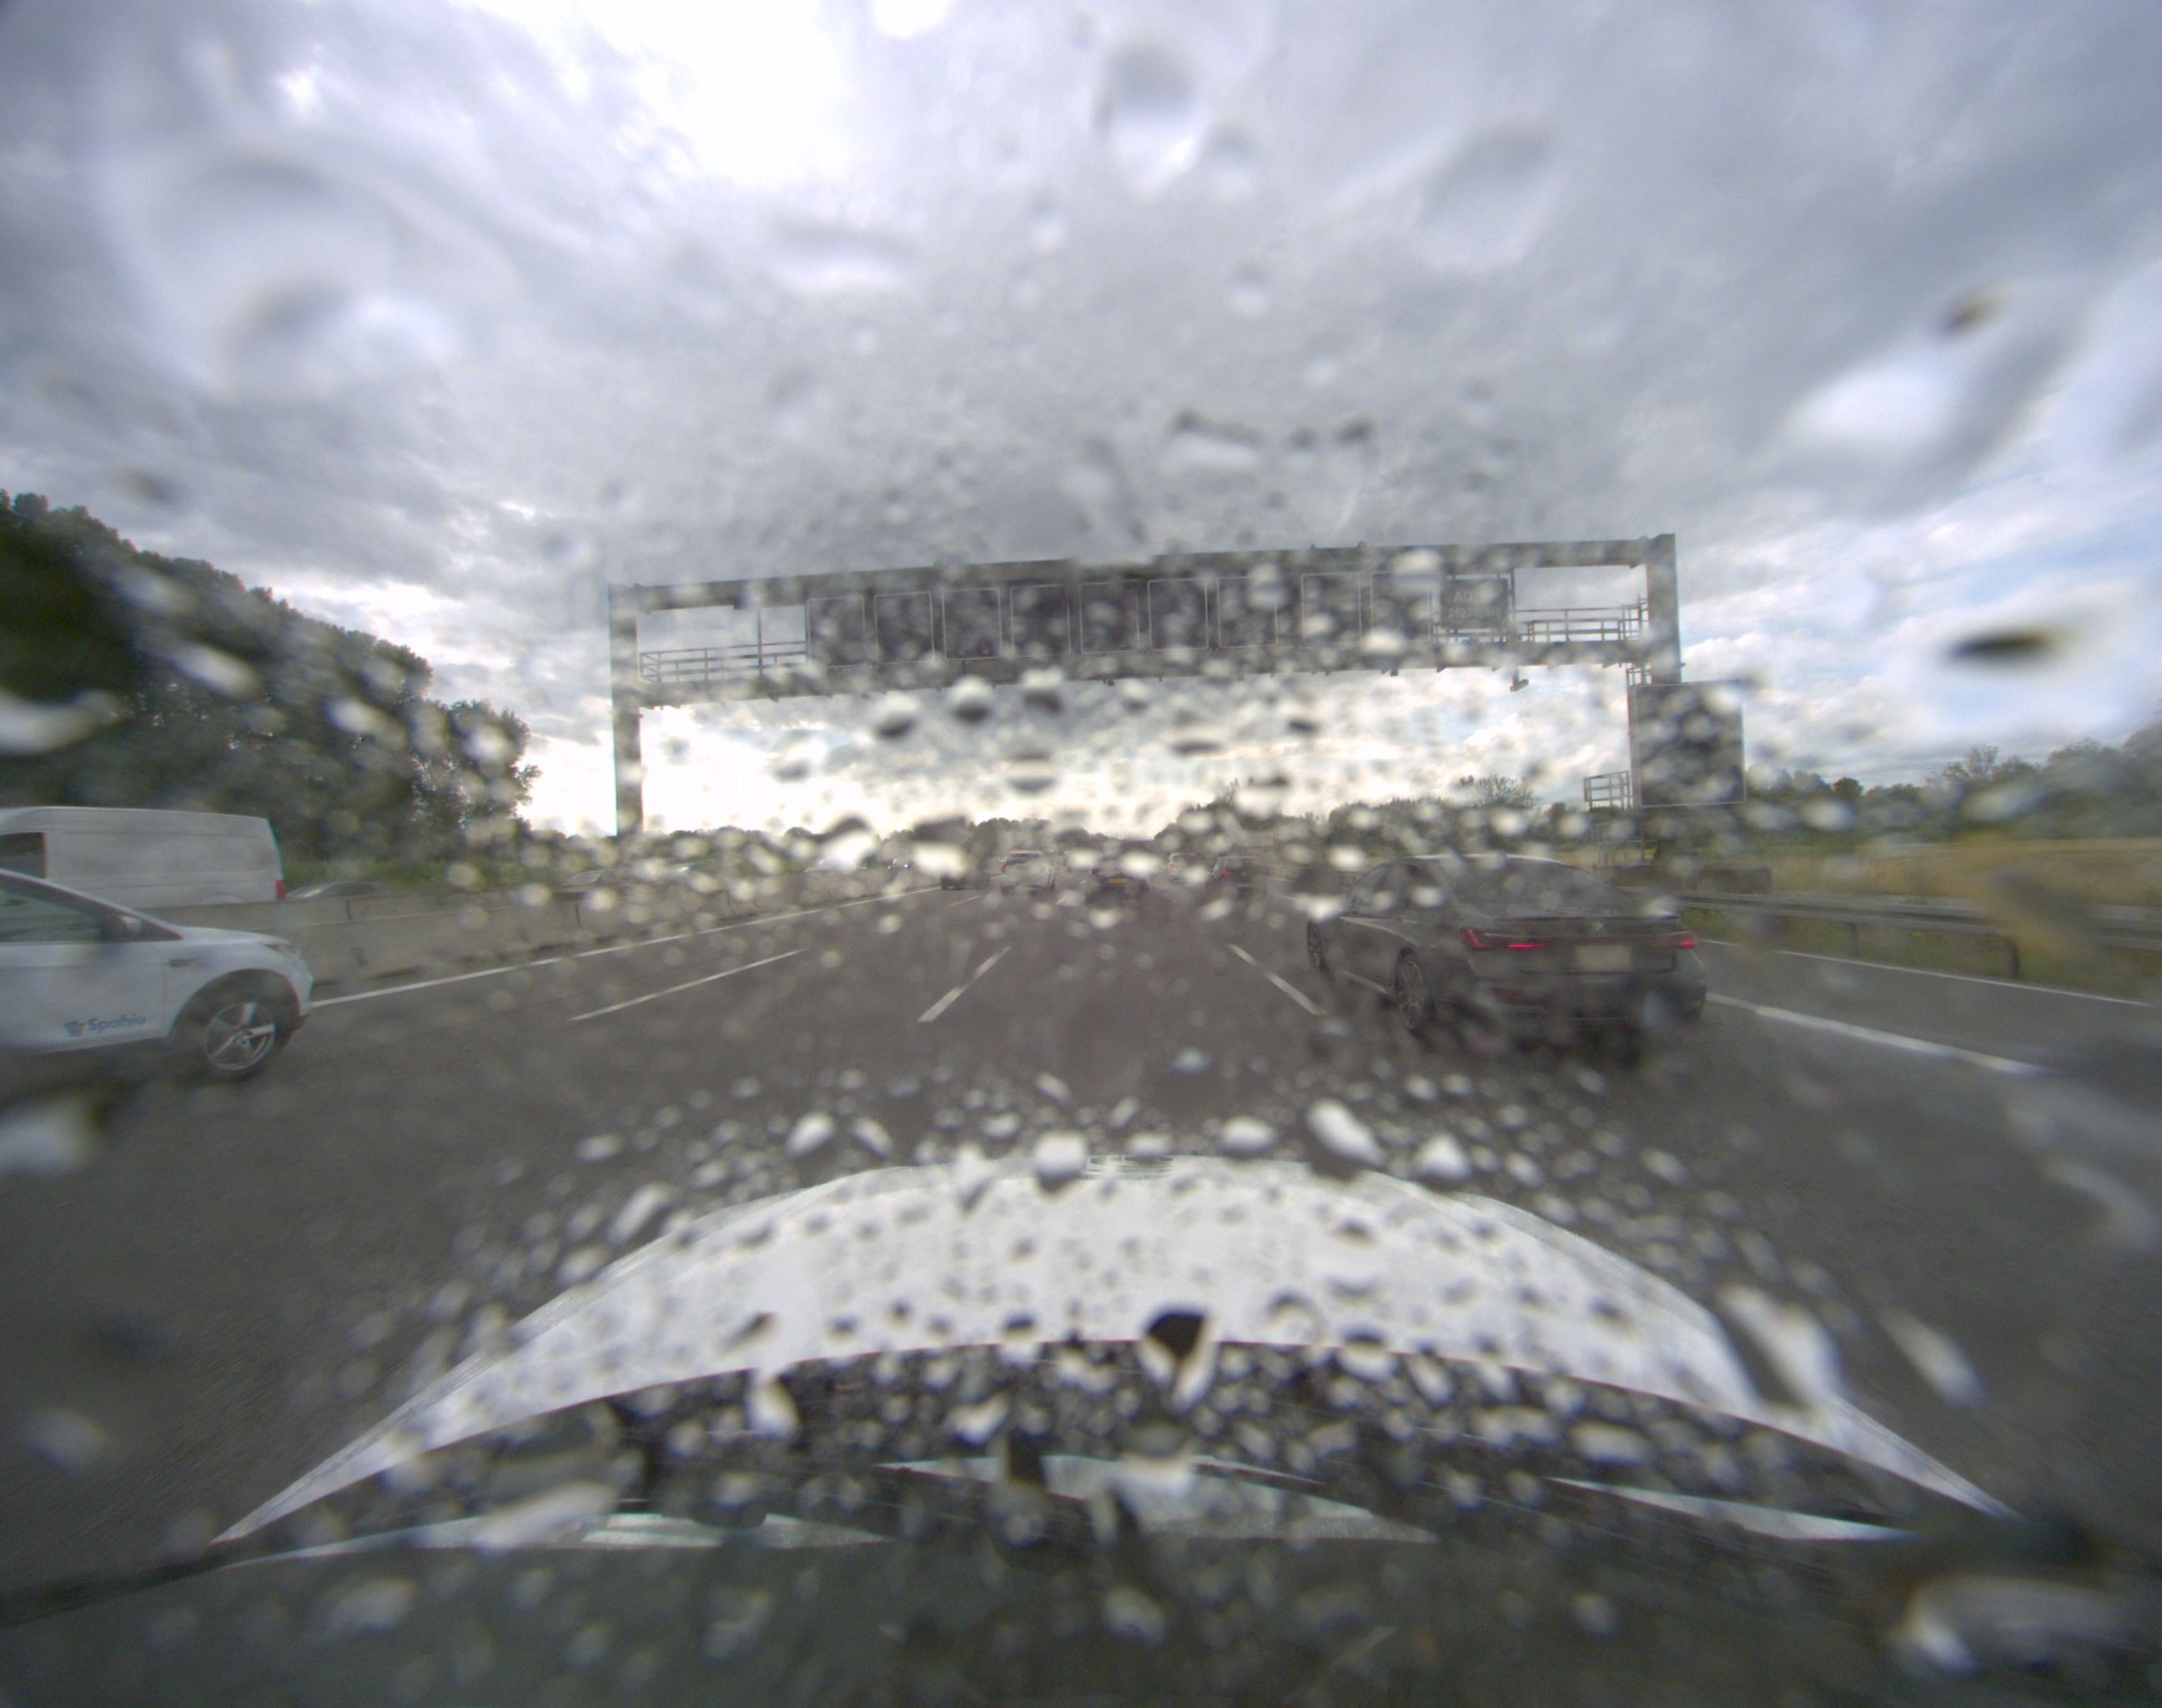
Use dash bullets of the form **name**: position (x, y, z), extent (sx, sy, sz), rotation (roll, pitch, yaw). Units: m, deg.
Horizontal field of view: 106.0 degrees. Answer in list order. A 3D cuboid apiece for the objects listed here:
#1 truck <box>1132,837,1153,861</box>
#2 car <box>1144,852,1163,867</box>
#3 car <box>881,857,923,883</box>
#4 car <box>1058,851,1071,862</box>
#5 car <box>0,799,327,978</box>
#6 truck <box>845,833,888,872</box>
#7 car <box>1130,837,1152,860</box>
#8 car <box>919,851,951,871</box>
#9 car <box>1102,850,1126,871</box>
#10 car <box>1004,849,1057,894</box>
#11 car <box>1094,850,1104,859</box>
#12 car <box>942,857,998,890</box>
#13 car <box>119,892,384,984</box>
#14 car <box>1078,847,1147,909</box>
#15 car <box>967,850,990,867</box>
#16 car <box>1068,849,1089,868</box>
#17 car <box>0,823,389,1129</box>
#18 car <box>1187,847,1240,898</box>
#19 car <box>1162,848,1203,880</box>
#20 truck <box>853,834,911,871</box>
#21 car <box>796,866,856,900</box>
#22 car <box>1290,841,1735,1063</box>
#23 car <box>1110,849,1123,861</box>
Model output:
- **truck**: position (9.849, -0.834, 130.596), extent (3.120, 3.709, 9.856), rotation (-1, 0, 3)
- **car**: position (7.209, 0.515, 81.434), extent (1.787, 1.477, 4.042), rotation (-1, 0, 4)
- **car**: position (-14.337, 1.244, 65.391), extent (1.986, 1.897, 5.190), rotation (-1, 0, 2)
- **car**: position (-2.357, 0.378, 115.605), extent (1.557, 1.477, 3.921), rotation (-1, 0, 2)
- **car**: position (-16.707, 0.514, 13.708), extent (1.986, 2.616, 6.345), rotation (-1, 0, 1)
- **truck**: position (-24.853, -0.133, 94.555), extent (3.106, 4.281, 5.915), rotation (-2, 0, 3)
- **car**: position (7.709, -0.714, 105.501), extent (2.557, 2.895, 7.537), rotation (-1, 0, 2)
- **car**: position (-14.401, 0.687, 80.480), extent (1.985, 1.852, 5.081), rotation (-2, 0, 3)
- **car**: position (2.825, 0.517, 69.504), extent (1.875, 1.686, 4.000), rotation (-1, 0, 0)
- **car**: position (-2.052, 0.671, 34.001), extent (1.774, 1.716, 4.354), rotation (-1, 0, 2)
- **car**: position (3.710, 0.101, 165.182), extent (1.874, 1.686, 4.002), rotation (-1, 0, 2)
- **car**: position (-5.378, 0.923, 39.960), extent (1.772, 1.481, 4.358), rotation (-1, 0, 5)
- **car**: position (-23.487, 2.273, 23.478), extent (1.986, 2.013, 5.405), rotation (-1, 0, 1)
- **car**: position (0.838, 0.630, 24.114), extent (1.776, 1.613, 4.595), rotation (-1, 0, -1)
- **car**: position (-12.713, 0.586, 101.073), extent (1.985, 2.013, 4.767), rotation (-1, 0, 3)
- **car**: position (-0.199, 0.396, 77.161), extent (1.874, 1.686, 4.002), rotation (-1, 0, 2)
- **car**: position (-6.893, 0.701, 4.526), extent (1.808, 1.689, 4.854), rotation (-2, 0, 1)
- **car**: position (4.667, 0.597, 29.003), extent (1.697, 1.631, 4.467), rotation (-1, 0, 8)
- **car**: position (5.349, 0.484, 43.507), extent (1.803, 1.599, 4.699), rotation (-1, 0, 3)
- **truck**: position (-24.595, -0.207, 101.458), extent (3.135, 4.312, 13.960), rotation (-1, 0, 2)
- **car**: position (-15.762, 1.725, 50.620), extent (1.986, 1.885, 5.188), rotation (-1, 0, 1)
- **car**: position (3.572, 0.669, 7.985), extent (1.932, 1.491, 4.777), rotation (-1, 0, 2)
- **car**: position (5.336, 0.180, 121.956), extent (1.874, 1.686, 4.002), rotation (-1, 0, 2)
